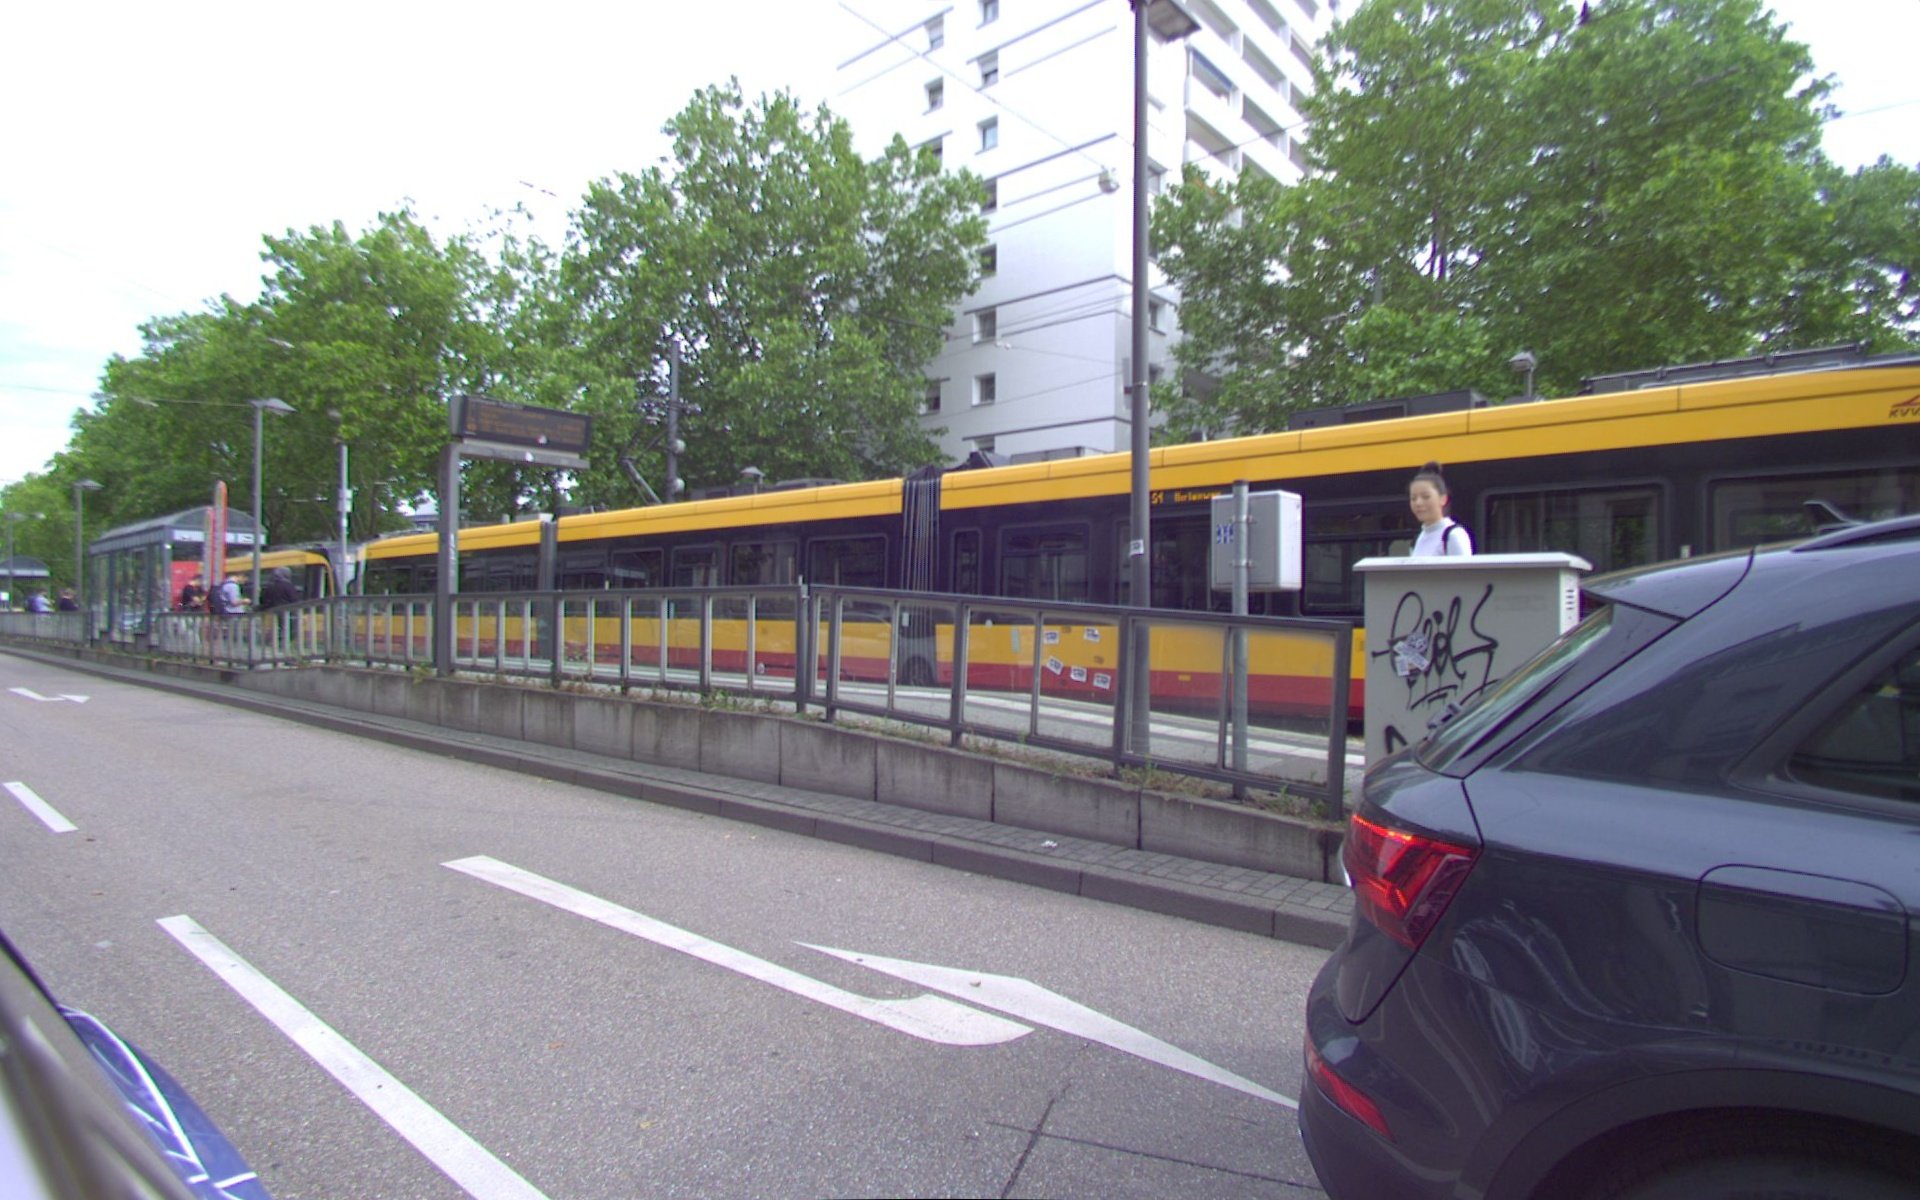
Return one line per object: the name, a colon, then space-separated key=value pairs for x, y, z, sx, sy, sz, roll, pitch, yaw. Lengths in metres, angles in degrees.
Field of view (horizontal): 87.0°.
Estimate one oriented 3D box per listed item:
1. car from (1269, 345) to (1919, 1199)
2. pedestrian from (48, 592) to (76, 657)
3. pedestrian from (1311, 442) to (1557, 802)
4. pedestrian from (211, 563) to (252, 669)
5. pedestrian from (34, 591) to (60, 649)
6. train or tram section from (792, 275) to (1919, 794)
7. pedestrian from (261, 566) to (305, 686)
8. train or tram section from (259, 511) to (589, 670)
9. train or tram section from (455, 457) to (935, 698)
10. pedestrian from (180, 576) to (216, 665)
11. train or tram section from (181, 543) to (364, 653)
car: x=2.680 y=0.503 z=0.982 sx=4.225 sy=1.649 sz=1.715 roll=-1 pitch=0 yaw=41
pedestrian: x=-25.578 y=0.697 z=28.832 sx=0.523 sy=1.818 sz=0.607 roll=-1 pitch=0 yaw=-35
pedestrian: x=2.371 y=0.107 z=5.180 sx=0.969 sy=1.683 sz=0.718 roll=-1 pitch=0 yaw=12
pedestrian: x=-12.761 y=0.269 z=17.726 sx=0.605 sy=1.818 sz=0.469 roll=-1 pitch=0 yaw=45
pedestrian: x=-29.048 y=0.629 z=32.194 sx=0.523 sy=1.818 sz=0.607 roll=-1 pitch=0 yaw=-35
train or tram section: x=4.156 y=-0.438 z=12.076 sx=15.196 sy=3.781 sz=3.295 roll=-1 pitch=0 yaw=41
pedestrian: x=-10.539 y=0.391 z=15.751 sx=0.513 sy=1.818 sz=0.606 roll=-1 pitch=0 yaw=-37
train or tram section: x=-16.962 y=-0.163 z=30.750 sx=16.241 sy=3.781 sz=3.295 roll=-1 pitch=0 yaw=41
train or tram section: x=-6.250 y=-0.302 z=21.268 sx=12.543 sy=3.781 sz=3.295 roll=-1 pitch=0 yaw=41
pedestrian: x=-15.935 y=0.422 z=21.171 sx=0.467 sy=1.818 sz=0.607 roll=-1 pitch=0 yaw=-24
train or tram section: x=-27.277 y=-0.029 z=39.838 sx=11.039 sy=3.781 sz=3.295 roll=-1 pitch=0 yaw=41
